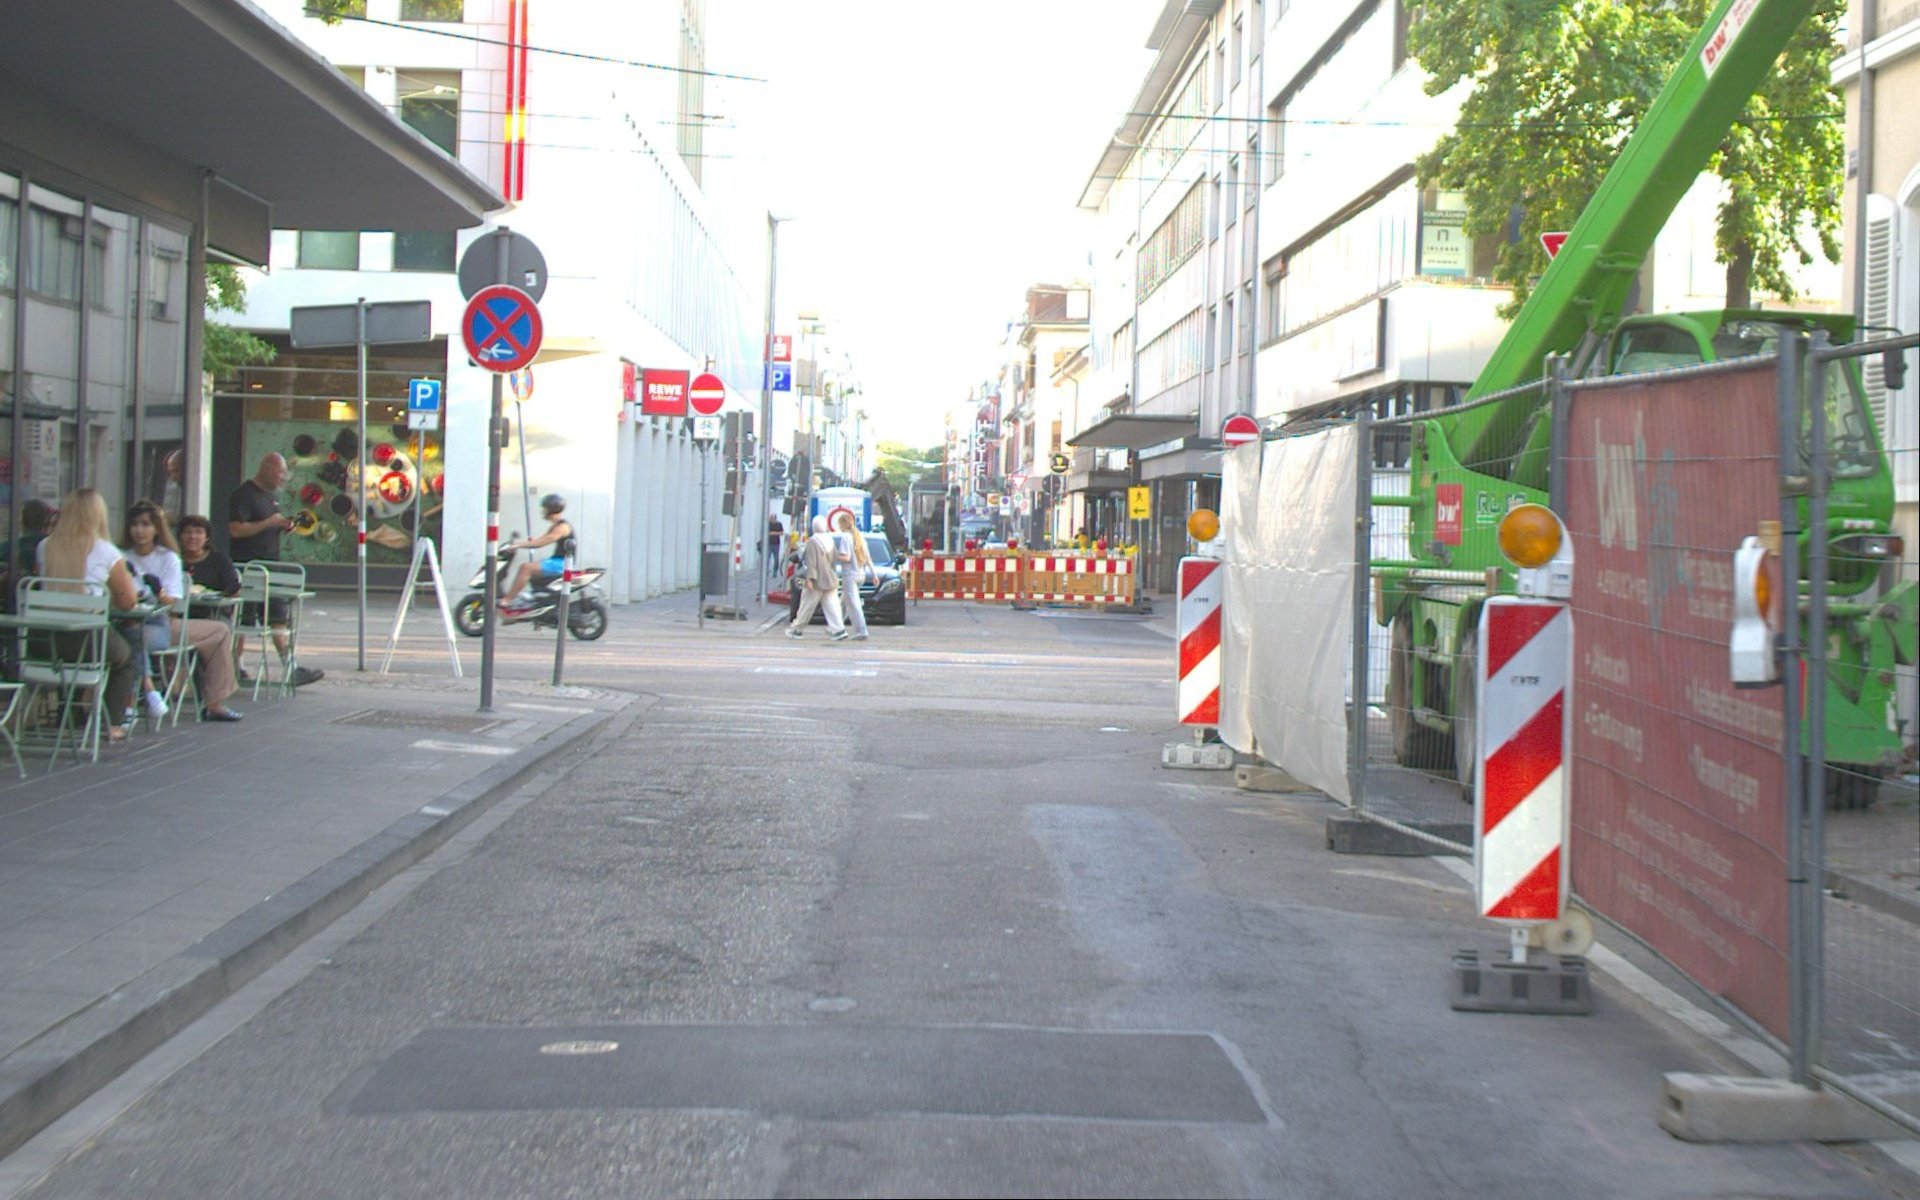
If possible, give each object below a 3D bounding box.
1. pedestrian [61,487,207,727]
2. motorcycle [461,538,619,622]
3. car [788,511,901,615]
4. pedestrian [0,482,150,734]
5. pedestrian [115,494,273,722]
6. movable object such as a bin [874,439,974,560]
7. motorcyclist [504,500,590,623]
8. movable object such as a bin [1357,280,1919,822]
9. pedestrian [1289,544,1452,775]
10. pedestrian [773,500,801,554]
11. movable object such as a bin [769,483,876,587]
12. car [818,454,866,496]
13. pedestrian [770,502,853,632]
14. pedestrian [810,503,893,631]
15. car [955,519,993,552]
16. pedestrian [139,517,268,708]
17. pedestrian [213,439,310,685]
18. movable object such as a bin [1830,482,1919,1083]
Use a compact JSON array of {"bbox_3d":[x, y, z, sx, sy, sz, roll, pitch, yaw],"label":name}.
[{"bbox_3d":[-4.573,0.029,19.064,0.573,1.271,0.714,4,2,-1],"label":"pedestrian"},{"bbox_3d":[-4.860,-0.232,39.788,1.753,0.916,0.642,1,1,-11],"label":"motorcycle"},{"bbox_3d":[-1.853,-0.602,54.336,1.629,1.545,3.143,1,2,-4],"label":"car"},{"bbox_3d":[-4.673,0.031,18.131,0.573,1.271,0.714,4,2,-1],"label":"pedestrian"},{"bbox_3d":[-4.469,0.035,20.089,0.702,1.271,0.714,4,2,-1],"label":"pedestrian"},{"bbox_3d":[-0.855,-2.328,79.629,2.156,2.654,4.573,2,1,-1],"label":"movable object such as a bin"},{"bbox_3d":[-4.784,-0.449,39.801,0.894,1.384,0.672,2,1,-11],"label":"motorcyclist"},{"bbox_3d":[3.974,-0.317,20.440,2.605,2.829,4.450,1,2,-1],"label":"movable object such as a bin"},{"bbox_3d":[3.329,0.477,27.909,1.071,1.828,0.698,1,2,-21],"label":"pedestrian"},{"bbox_3d":[-4.720,-1.983,93.743,0.716,1.459,0.525,1,1,1],"label":"pedestrian"},{"bbox_3d":[-2.741,-1.335,69.458,1.993,2.006,4.000,1,2,0],"label":"movable object such as a bin"},{"bbox_3d":[-5.103,-5.413,149.144,1.993,1.770,4.001,1,2,-1],"label":"car"},{"bbox_3d":[-1.899,-0.427,43.889,0.610,1.622,0.872,0,2,-44],"label":"pedestrian"},{"bbox_3d":[-1.399,-0.430,44.305,0.610,1.622,0.872,0,2,-44],"label":"pedestrian"},{"bbox_3d":[0.782,-3.659,193.581,1.993,1.770,4.001,1,2,-1],"label":"car"},{"bbox_3d":[-4.617,0.066,21.006,0.573,1.110,0.714,4,2,-1],"label":"pedestrian"},{"bbox_3d":[-4.866,-0.268,23.966,0.504,1.662,0.687,3,1,-6],"label":"pedestrian"},{"bbox_3d":[4.104,0.637,6.438,2.735,1.633,7.554,2,2,-2],"label":"movable object such as a bin"}]
